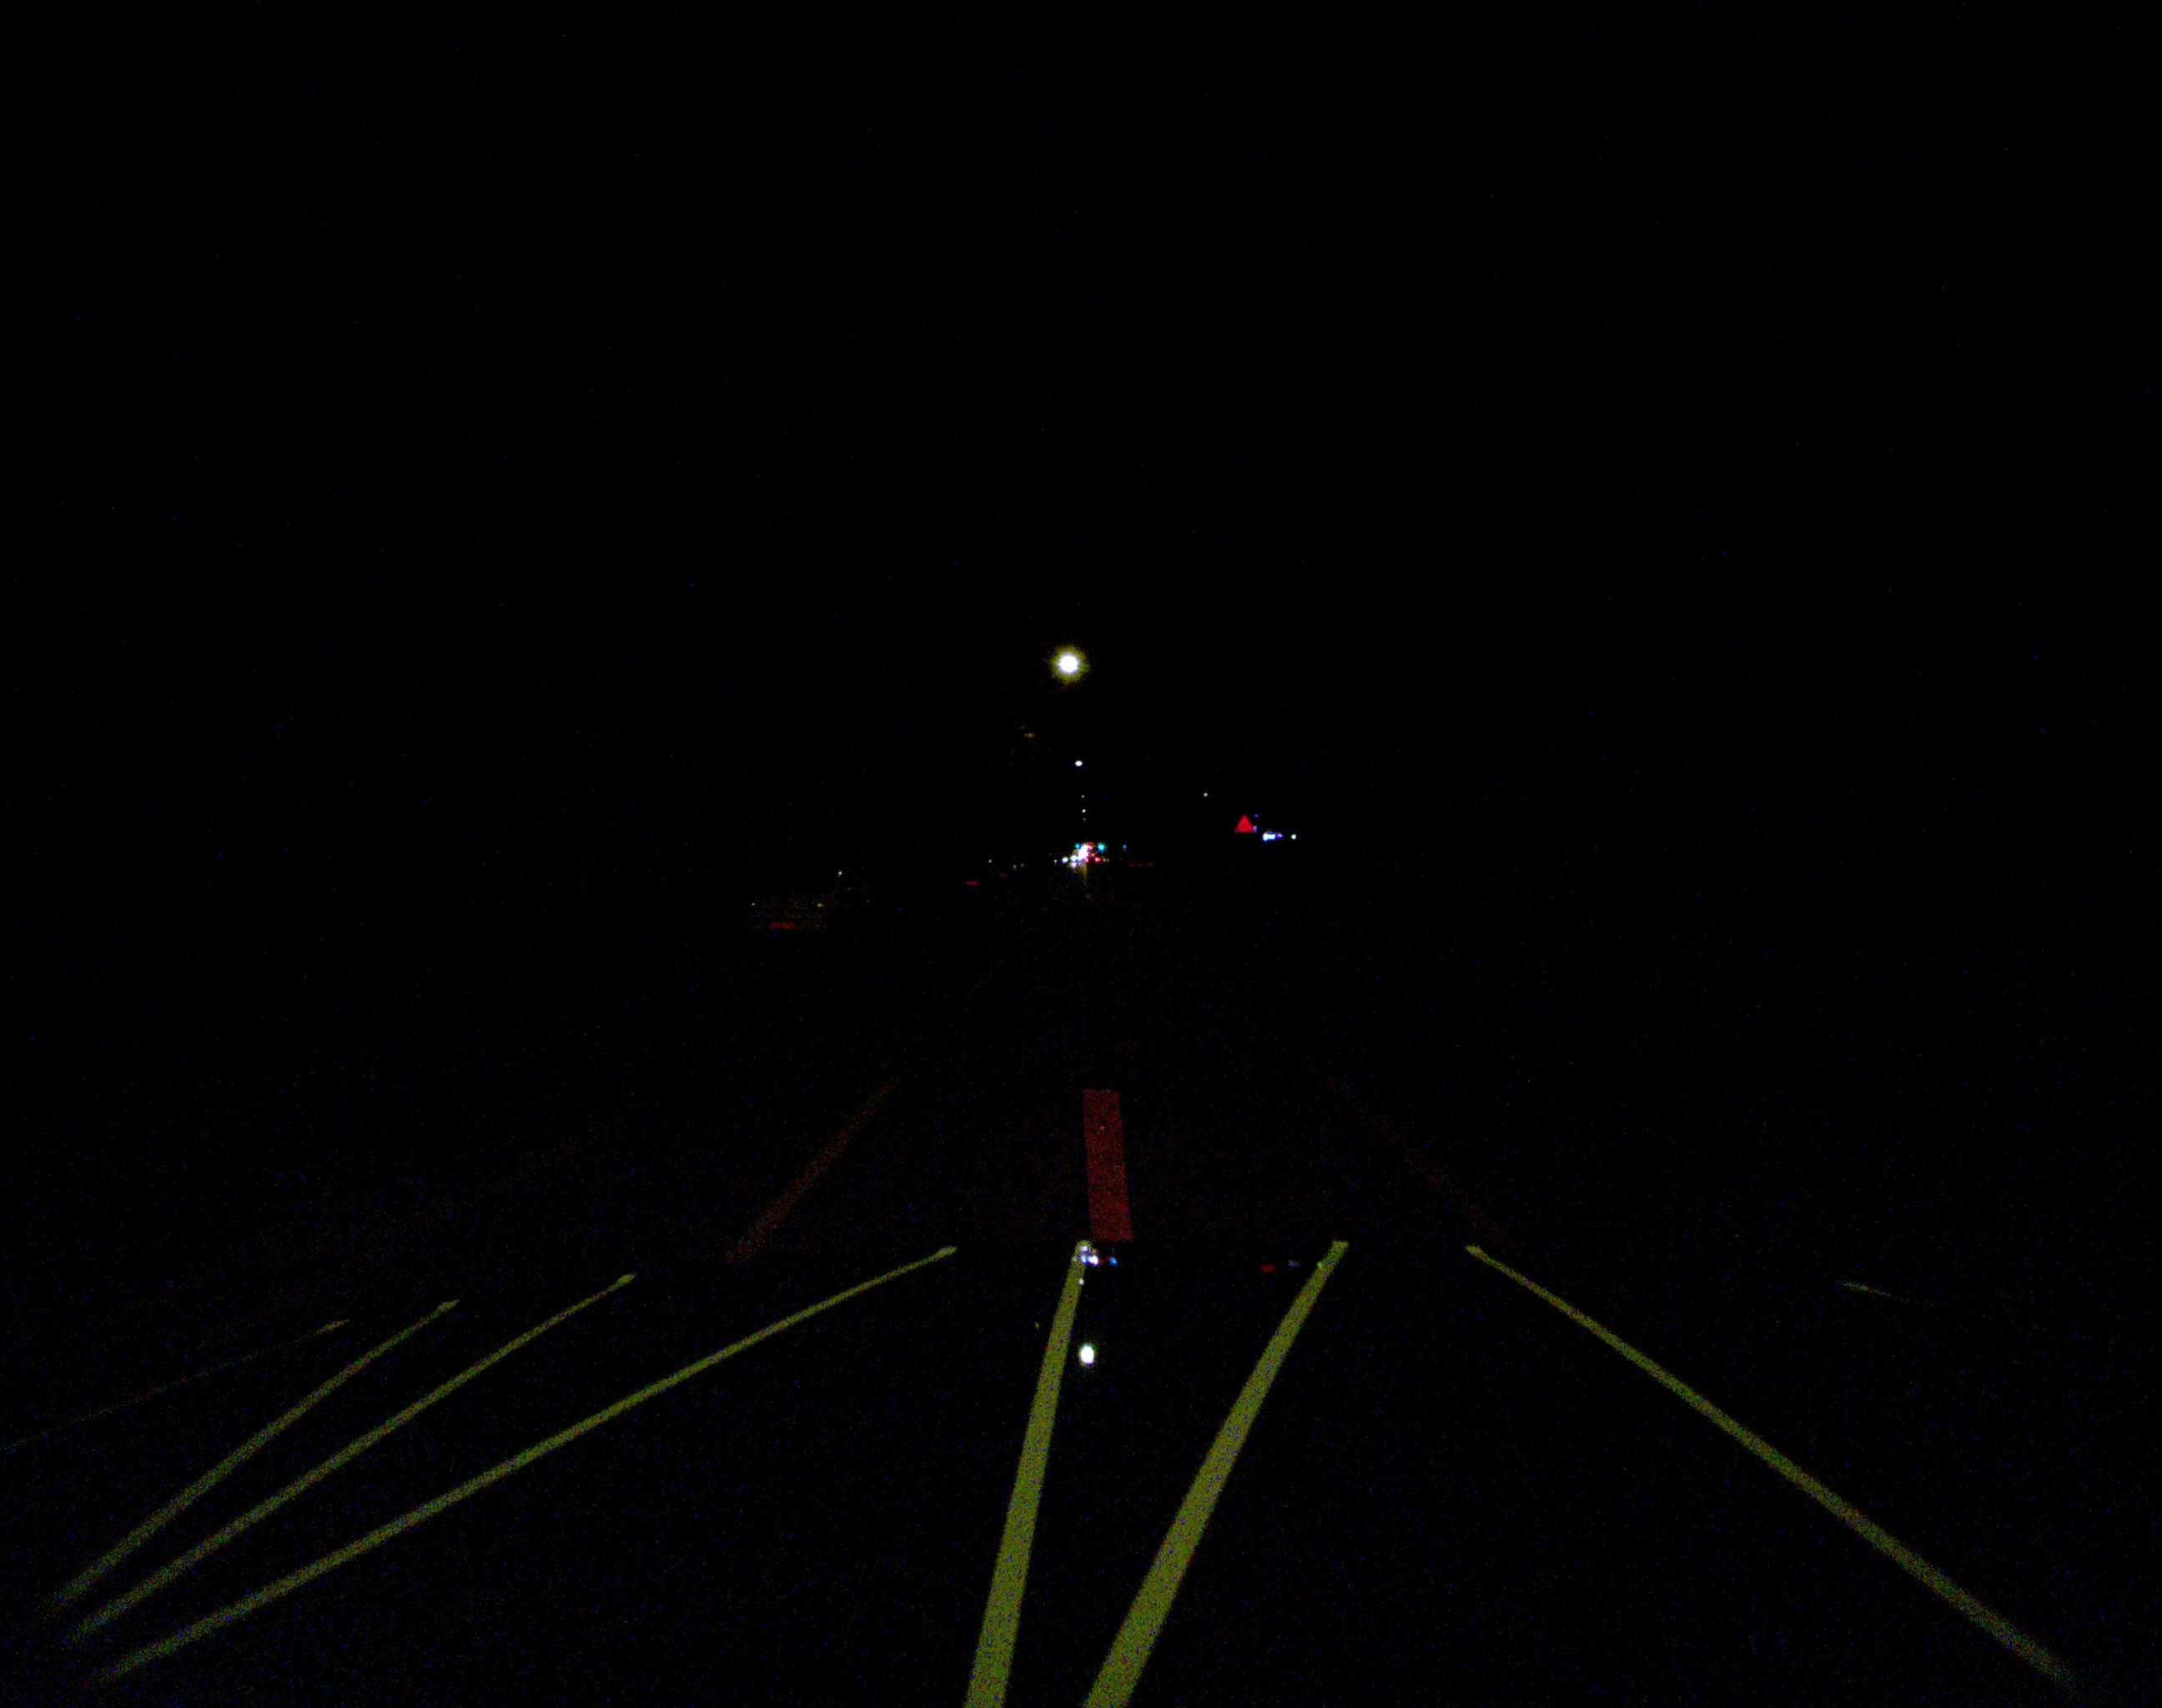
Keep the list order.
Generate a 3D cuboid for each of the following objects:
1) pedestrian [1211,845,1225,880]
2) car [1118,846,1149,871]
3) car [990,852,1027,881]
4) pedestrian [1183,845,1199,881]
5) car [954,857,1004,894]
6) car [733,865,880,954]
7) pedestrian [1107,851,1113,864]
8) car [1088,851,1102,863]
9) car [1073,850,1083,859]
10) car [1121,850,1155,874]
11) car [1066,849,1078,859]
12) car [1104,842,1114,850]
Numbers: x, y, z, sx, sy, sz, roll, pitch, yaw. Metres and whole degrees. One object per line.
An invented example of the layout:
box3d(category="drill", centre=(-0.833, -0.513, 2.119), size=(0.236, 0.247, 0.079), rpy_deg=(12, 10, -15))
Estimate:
box3d(category="pedestrian", centre=(7.036, 0.433, 38.932), size=(0.565, 1.750, 0.500), rpy_deg=(-2, 1, 1))
box3d(category="car", centre=(3.904, 0.323, 57.231), size=(1.998, 1.772, 3.999), rpy_deg=(-2, 1, 1))
box3d(category="car", centre=(-4.460, 0.752, 47.475), size=(1.852, 1.643, 4.179), rpy_deg=(-2, 0, 0))
box3d(category="pedestrian", centre=(5.551, 0.449, 38.492), size=(0.673, 1.750, 0.500), rpy_deg=(-2, 1, 1))
box3d(category="car", centre=(-4.470, 0.905, 33.943), size=(1.742, 1.489, 3.890), rpy_deg=(-1, 0, -1))
box3d(category="car", centre=(-5.274, 1.006, 15.062), size=(1.611, 1.500, 3.486), rpy_deg=(0, 0, 1))
box3d(category="pedestrian", centre=(4.455, 0.594, 118.174), size=(0.804, 2.002, 0.940), rpy_deg=(-2, 1, 1))
box3d(category="car", centre=(1.912, 0.397, 102.197), size=(1.754, 1.433, 3.487), rpy_deg=(-2, -2, 1))
box3d(category="car", centre=(-0.579, 0.032, 152.109), size=(1.998, 1.740, 3.999), rpy_deg=(-2, 1, 1))
box3d(category="car", centre=(3.889, 0.515, 52.077), size=(1.998, 1.477, 3.999), rpy_deg=(-3, 1, 1))
box3d(category="car", centre=(-1.575, 0.003, 134.647), size=(1.998, 1.718, 3.803), rpy_deg=(-2, 1, 1))
box3d(category="car", centre=(5.693, -1.587, 153.877), size=(1.903, 1.581, 3.661), rpy_deg=(-2, 1, 2))
